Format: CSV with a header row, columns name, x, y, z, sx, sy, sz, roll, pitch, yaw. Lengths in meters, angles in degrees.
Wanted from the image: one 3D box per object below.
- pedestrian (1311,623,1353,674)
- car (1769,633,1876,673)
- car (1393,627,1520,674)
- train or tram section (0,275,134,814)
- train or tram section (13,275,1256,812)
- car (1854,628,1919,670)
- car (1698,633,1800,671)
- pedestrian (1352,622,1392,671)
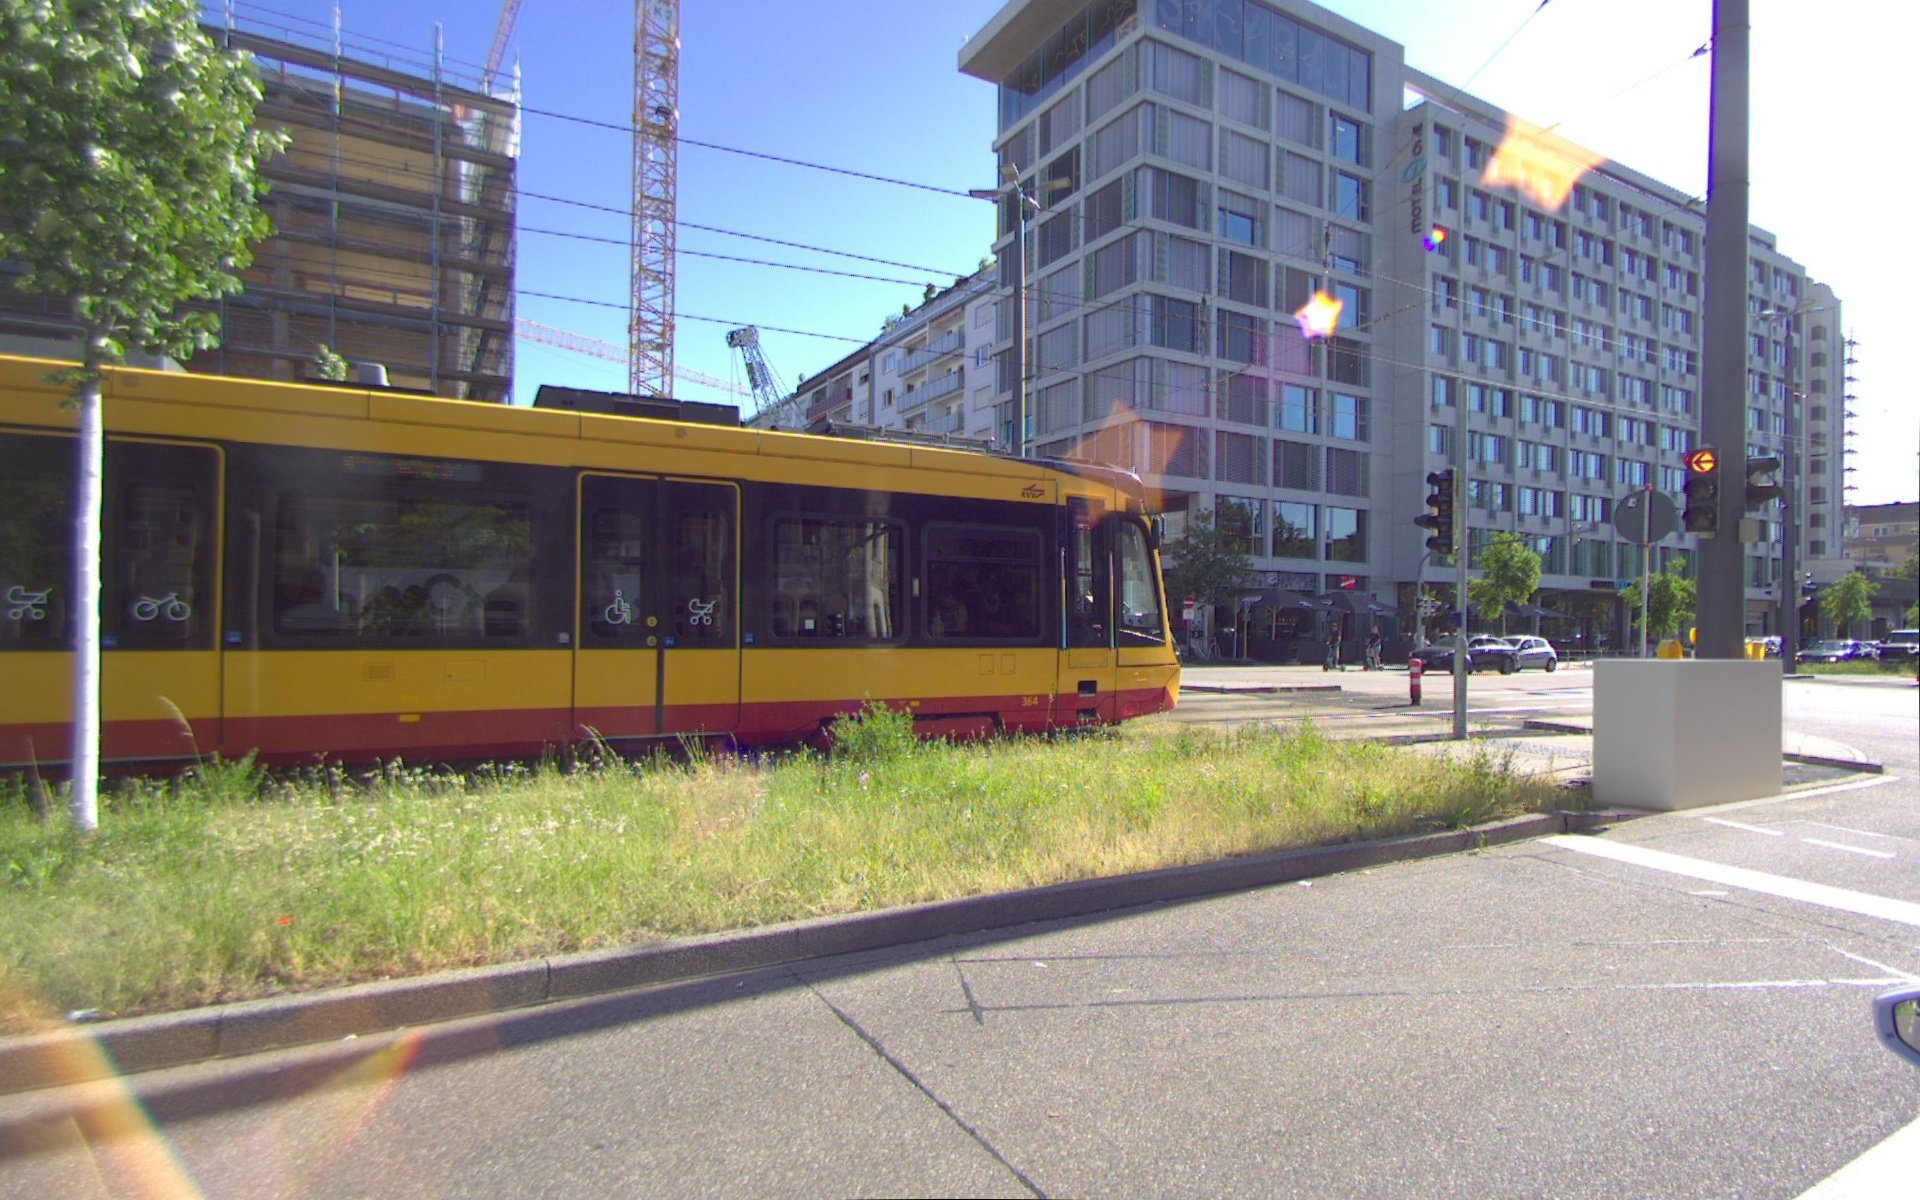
name,x,y,z,sx,sy,sz,roll,pitch,yaw
pedestrian,15.386,1.991,41.564,1.253,2.040,1.062,1,0,-35
car,36.920,2.273,43.006,3.944,1.572,1.988,2,0,-24
car,17.911,1.820,36.271,3.942,1.572,1.990,2,0,-22
train or tram section,-11.835,-0.527,5.391,11.169,3.718,1.986,2,0,-27
train or tram section,-1.896,-0.247,10.587,11.538,3.718,1.985,2,0,-28
car,44.065,2.275,47.299,4.242,1.843,1.981,2,0,-35
car,35.316,2.302,44.970,3.944,1.572,1.988,2,0,-24
pedestrian,17.670,1.989,43.048,1.253,2.040,1.062,1,0,-35
